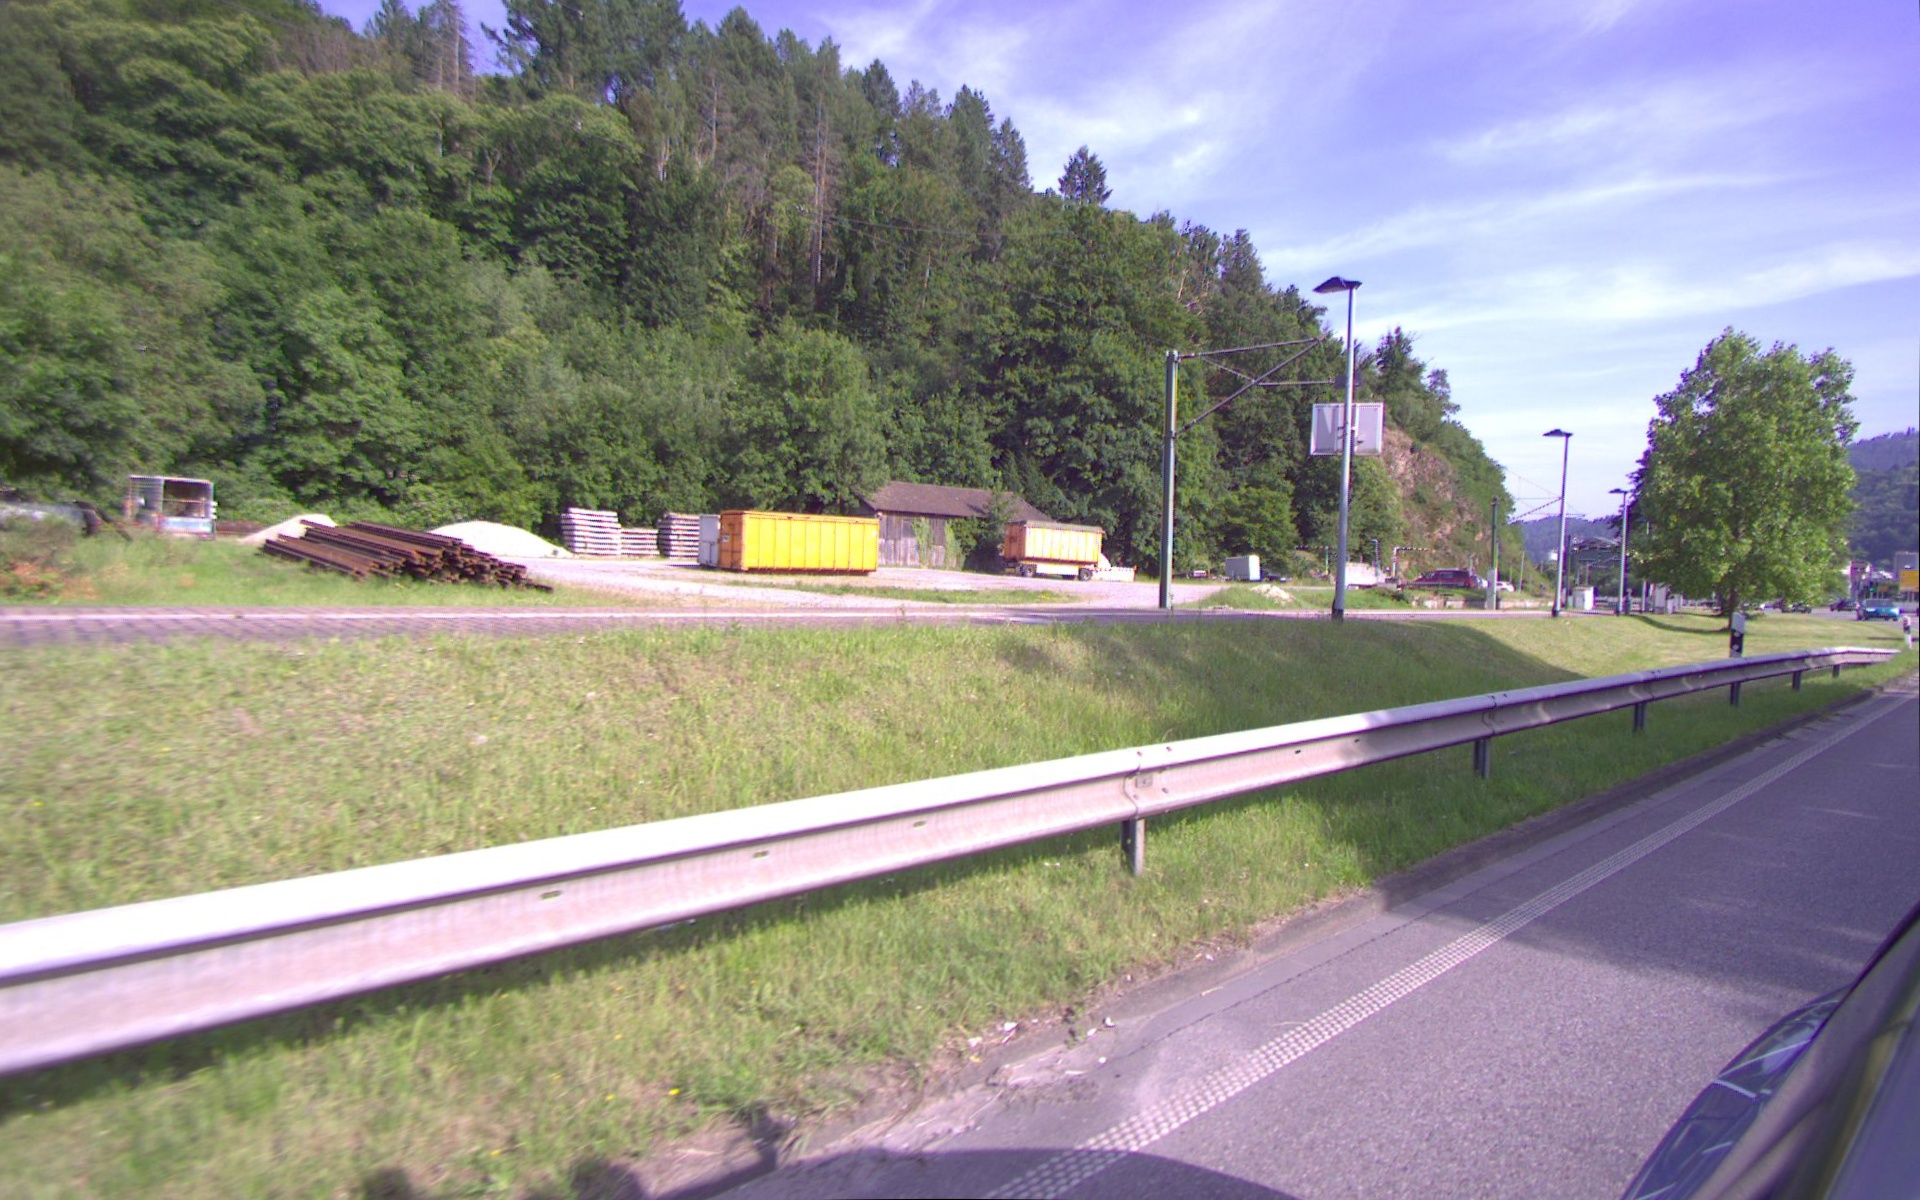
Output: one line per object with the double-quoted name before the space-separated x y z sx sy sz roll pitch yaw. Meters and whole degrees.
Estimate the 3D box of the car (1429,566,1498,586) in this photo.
"car" 42.946 -2.084 86.402 4.941 1.607 2.112 2 1 38

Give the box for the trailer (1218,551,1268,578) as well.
"trailer" 23.905 -3.018 85.581 1.783 2.216 3.707 1 2 -33

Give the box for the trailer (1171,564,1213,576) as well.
"trailer" 19.112 -2.477 83.495 1.703 0.926 3.074 1 2 -33

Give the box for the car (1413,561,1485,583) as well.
"car" 39.808 -2.308 82.462 4.941 1.712 1.910 2 1 38

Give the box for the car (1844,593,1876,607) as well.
"car" 98.073 0.024 110.353 1.843 1.488 4.490 0 0 32

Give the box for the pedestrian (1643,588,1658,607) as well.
"pedestrian" 44.783 -0.168 65.658 0.714 1.175 0.636 0 3 -44

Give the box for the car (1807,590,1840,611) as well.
"car" 83.514 0.007 97.931 1.989 1.815 3.949 6 4 35

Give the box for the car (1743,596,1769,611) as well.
"car" 92.470 0.396 117.608 1.864 1.478 3.687 4 3 32

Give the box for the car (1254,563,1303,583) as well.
"car" 26.632 -2.239 84.725 1.639 1.505 3.615 1 3 -35

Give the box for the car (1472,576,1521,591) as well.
"car" 54.289 -1.675 102.392 4.088 1.415 1.785 2 1 38

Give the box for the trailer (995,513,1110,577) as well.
"trailer" 6.296 -3.675 68.212 7.582 3.941 2.617 1 2 -33

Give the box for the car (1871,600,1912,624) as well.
"car" 65.293 0.807 71.006 1.760 1.478 3.527 4 3 38
